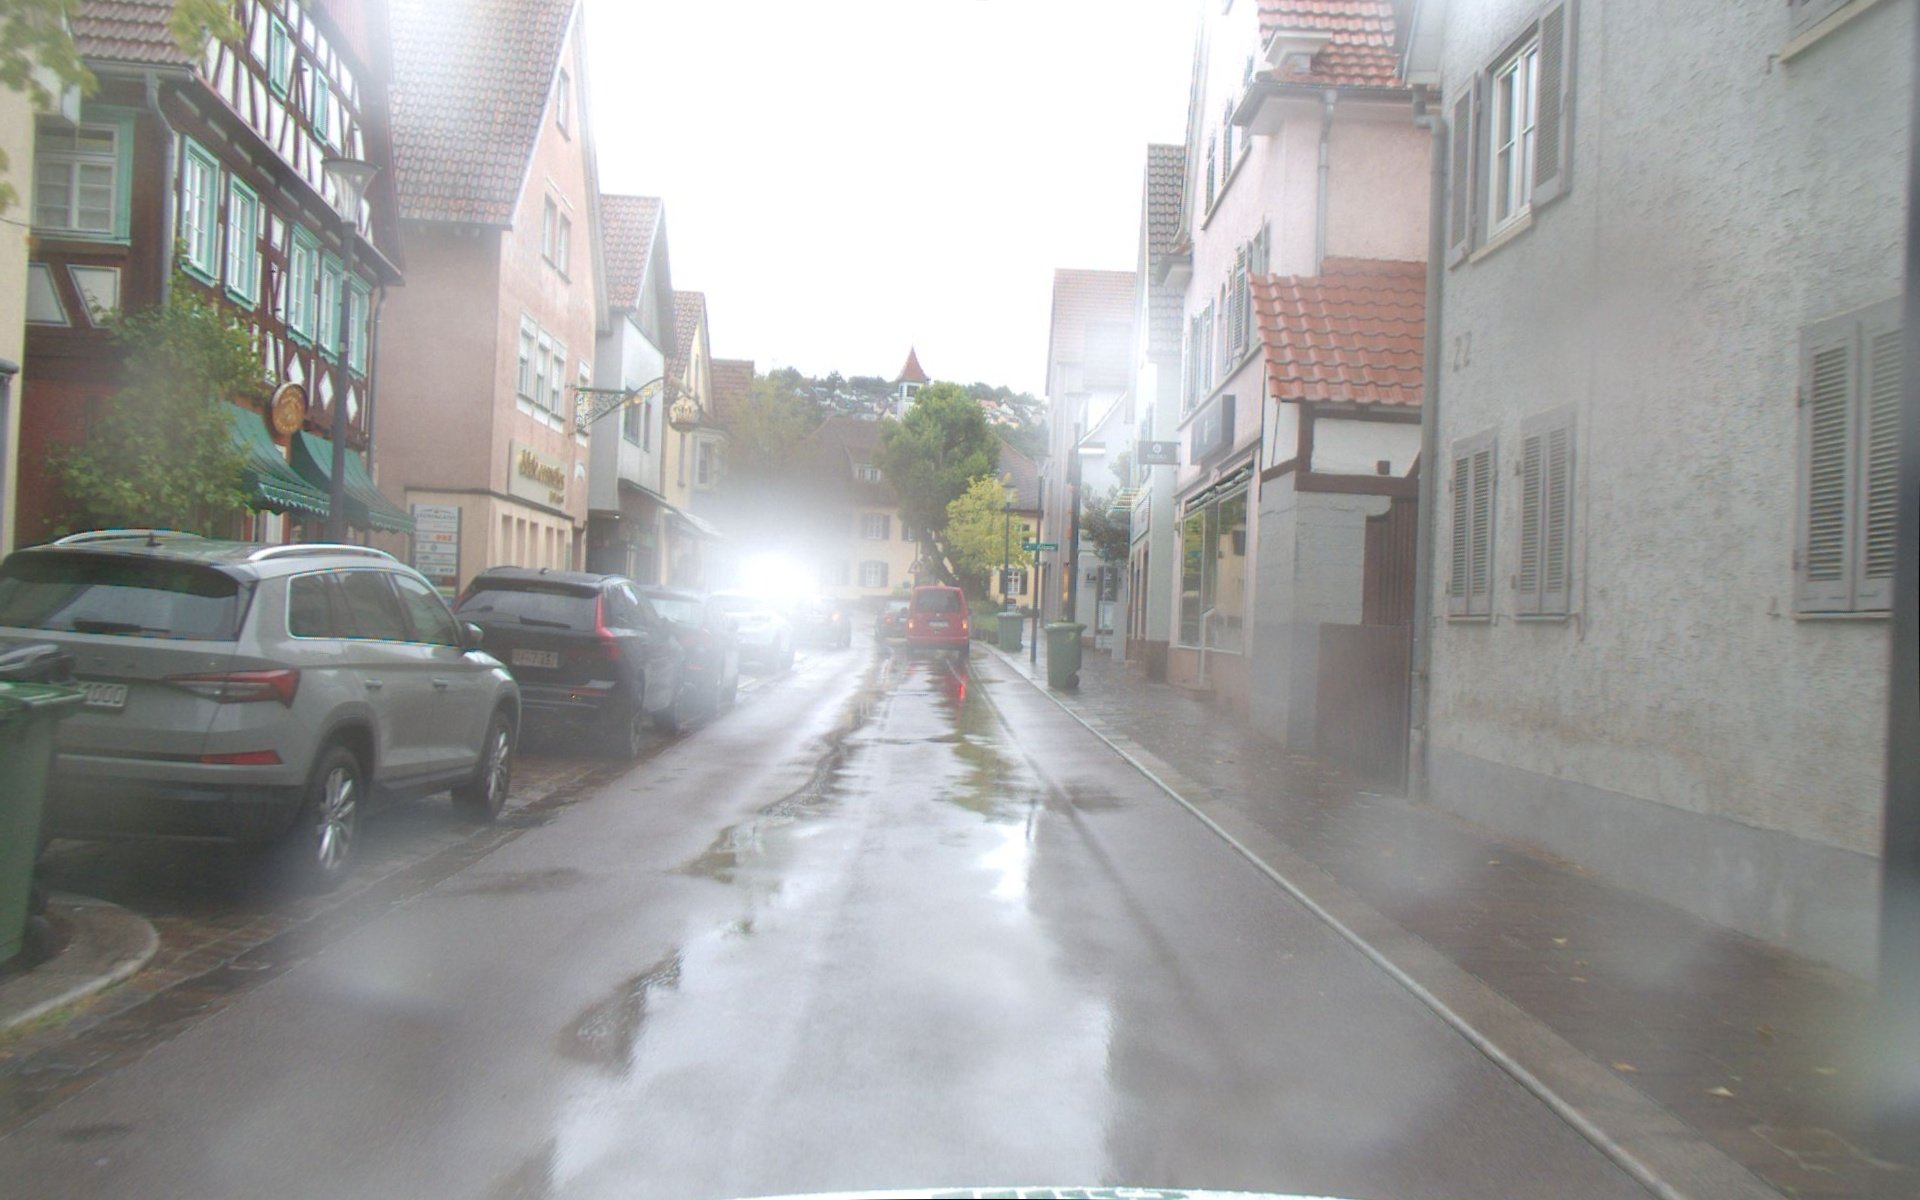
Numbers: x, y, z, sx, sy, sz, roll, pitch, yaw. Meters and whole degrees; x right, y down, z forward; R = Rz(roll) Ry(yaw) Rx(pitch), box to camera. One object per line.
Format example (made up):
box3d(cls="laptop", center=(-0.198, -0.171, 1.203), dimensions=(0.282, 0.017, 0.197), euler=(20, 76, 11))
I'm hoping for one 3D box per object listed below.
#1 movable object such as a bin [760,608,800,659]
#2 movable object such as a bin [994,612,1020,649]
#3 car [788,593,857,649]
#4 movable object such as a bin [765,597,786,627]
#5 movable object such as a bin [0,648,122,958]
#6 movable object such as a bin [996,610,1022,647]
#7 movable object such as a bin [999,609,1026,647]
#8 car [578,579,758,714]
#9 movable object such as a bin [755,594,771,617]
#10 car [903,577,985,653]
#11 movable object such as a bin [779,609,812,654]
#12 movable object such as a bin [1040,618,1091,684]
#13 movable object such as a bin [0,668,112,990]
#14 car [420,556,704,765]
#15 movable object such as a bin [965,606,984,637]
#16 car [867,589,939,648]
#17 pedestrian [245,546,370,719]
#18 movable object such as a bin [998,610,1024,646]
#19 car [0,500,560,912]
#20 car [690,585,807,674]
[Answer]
box3d(cls="movable object such as a bin", center=(-4.163, 0.774, 38.346), dimensions=(0.770, 1.103, 0.693), euler=(4, 1, 1))
box3d(cls="movable object such as a bin", center=(1.478, 0.968, 52.178), dimensions=(0.720, 1.117, 0.611), euler=(3, -2, -1))
box3d(cls="car", center=(-4.093, 0.602, 49.619), dimensions=(1.657, 1.468, 3.884), euler=(3, 1, 0))
box3d(cls="movable object such as a bin", center=(-7.317, 0.493, 65.602), dimensions=(0.712, 1.129, 0.595), euler=(3, -2, -9))
box3d(cls="movable object such as a bin", center=(-3.831, 0.762, 6.531), dimensions=(0.604, 1.121, 0.780), euler=(3, -2, -4))
box3d(cls="movable object such as a bin", center=(1.525, 0.881, 51.543), dimensions=(0.714, 1.110, 0.521), euler=(3, -2, 0))
box3d(cls="movable object such as a bin", center=(1.585, 0.860, 50.329), dimensions=(0.752, 1.098, 0.599), euler=(3, -2, 0))
box3d(cls="car", center=(-3.843, 0.549, 22.433), dimensions=(1.744, 1.565, 4.288), euler=(3, 1, -2))
box3d(cls="movable object such as a bin", center=(-10.129, 0.289, 85.077), dimensions=(0.701, 1.125, 0.598), euler=(4, -2, -11))
box3d(cls="car", center=(-0.397, 0.382, 45.185), dimensions=(1.855, 1.842, 4.002), euler=(4, 1, 3))
box3d(cls="movable object such as a bin", center=(-4.064, 0.781, 40.852), dimensions=(0.695, 1.071, 0.704), euler=(3, -2, 0))
box3d(cls="movable object such as a bin", center=(1.823, 0.875, 28.631), dimensions=(0.777, 1.099, 0.614), euler=(2, -1, -4))
box3d(cls="movable object such as a bin", center=(-3.451, 0.786, 5.884), dimensions=(0.541, 1.064, 0.534), euler=(3, -2, -5))
box3d(cls="car", center=(-3.779, 0.477, 16.555), dimensions=(1.787, 1.695, 4.641), euler=(3, 1, -2))
box3d(cls="movable object such as a bin", center=(0.563, 0.834, 65.000), dimensions=(0.620, 1.170, 0.578), euler=(3, -2, -9))
box3d(cls="car", center=(-1.976, 0.650, 56.475), dimensions=(1.956, 1.831, 3.992), euler=(4, -2, -8))
box3d(cls="pedestrian", center=(-6.825, 0.344, 17.362), dimensions=(0.772, 1.711, 1.176), euler=(3, -2, -3))
box3d(cls="movable object such as a bin", center=(1.576, 0.868, 50.962), dimensions=(0.739, 1.082, 0.600), euler=(3, -2, 0))
box3d(cls="car", center=(-3.777, 0.504, 9.439), dimensions=(1.787, 1.695, 4.641), euler=(3, -2, 0))
box3d(cls="car", center=(-4.174, 0.539, 33.184), dimensions=(1.657, 1.565, 4.121), euler=(4, 1, 1))
